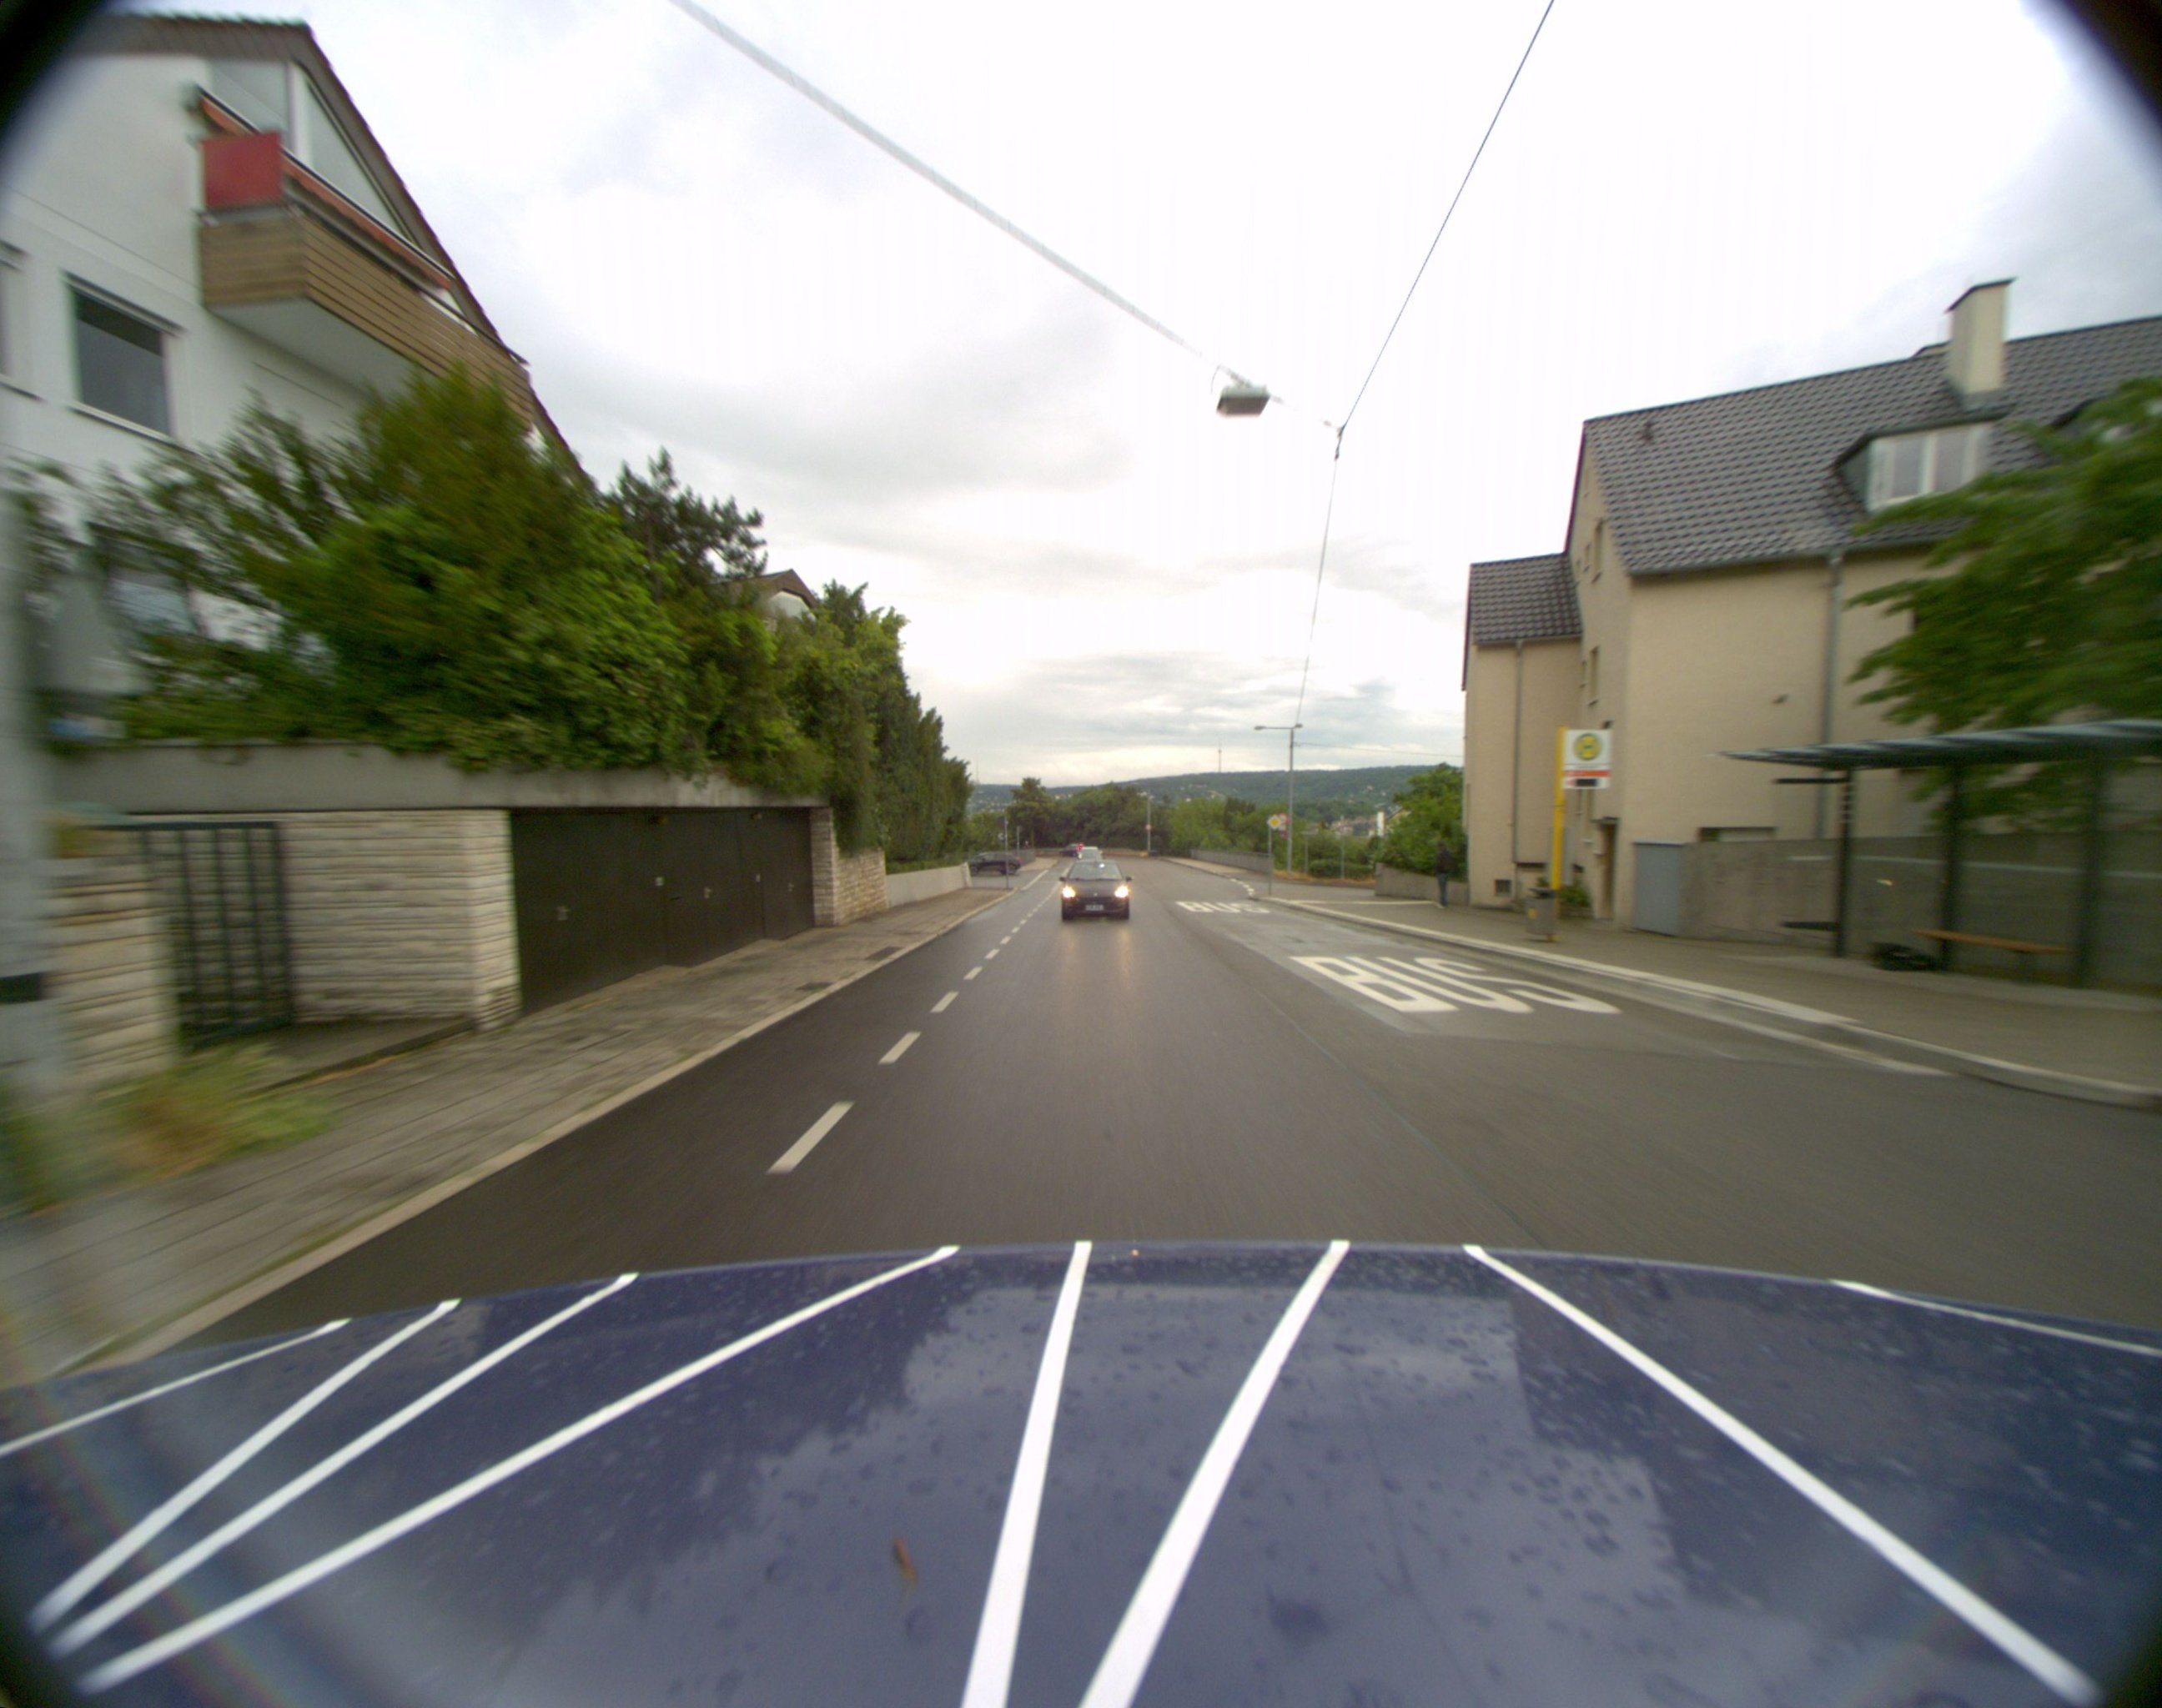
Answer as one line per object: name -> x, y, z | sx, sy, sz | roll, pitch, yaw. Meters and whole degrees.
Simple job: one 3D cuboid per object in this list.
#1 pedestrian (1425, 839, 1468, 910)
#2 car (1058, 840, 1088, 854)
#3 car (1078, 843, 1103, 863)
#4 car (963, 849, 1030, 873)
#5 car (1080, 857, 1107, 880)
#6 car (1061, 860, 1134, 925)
pedestrian -> 9.794, 0.534, 20.389 | 0.788, 1.846, 0.728 | -2, 2, 1
car -> -0.980, -0.876, 92.841 | 1.742, 1.537, 3.988 | -1, 2, -35
car -> 0.791, -0.105, 66.544 | 1.889, 1.566, 4.590 | -1, 2, -3
car -> -5.888, 0.451, 52.921 | 4.207, 1.514, 1.996 | -2, 1, -24
car -> 0.823, 0.959, 52.600 | 1.766, 1.445, 4.399 | 0, 1, 0
car -> 0.439, 0.910, 19.571 | 1.680, 1.405, 3.637 | -1, 1, 1
